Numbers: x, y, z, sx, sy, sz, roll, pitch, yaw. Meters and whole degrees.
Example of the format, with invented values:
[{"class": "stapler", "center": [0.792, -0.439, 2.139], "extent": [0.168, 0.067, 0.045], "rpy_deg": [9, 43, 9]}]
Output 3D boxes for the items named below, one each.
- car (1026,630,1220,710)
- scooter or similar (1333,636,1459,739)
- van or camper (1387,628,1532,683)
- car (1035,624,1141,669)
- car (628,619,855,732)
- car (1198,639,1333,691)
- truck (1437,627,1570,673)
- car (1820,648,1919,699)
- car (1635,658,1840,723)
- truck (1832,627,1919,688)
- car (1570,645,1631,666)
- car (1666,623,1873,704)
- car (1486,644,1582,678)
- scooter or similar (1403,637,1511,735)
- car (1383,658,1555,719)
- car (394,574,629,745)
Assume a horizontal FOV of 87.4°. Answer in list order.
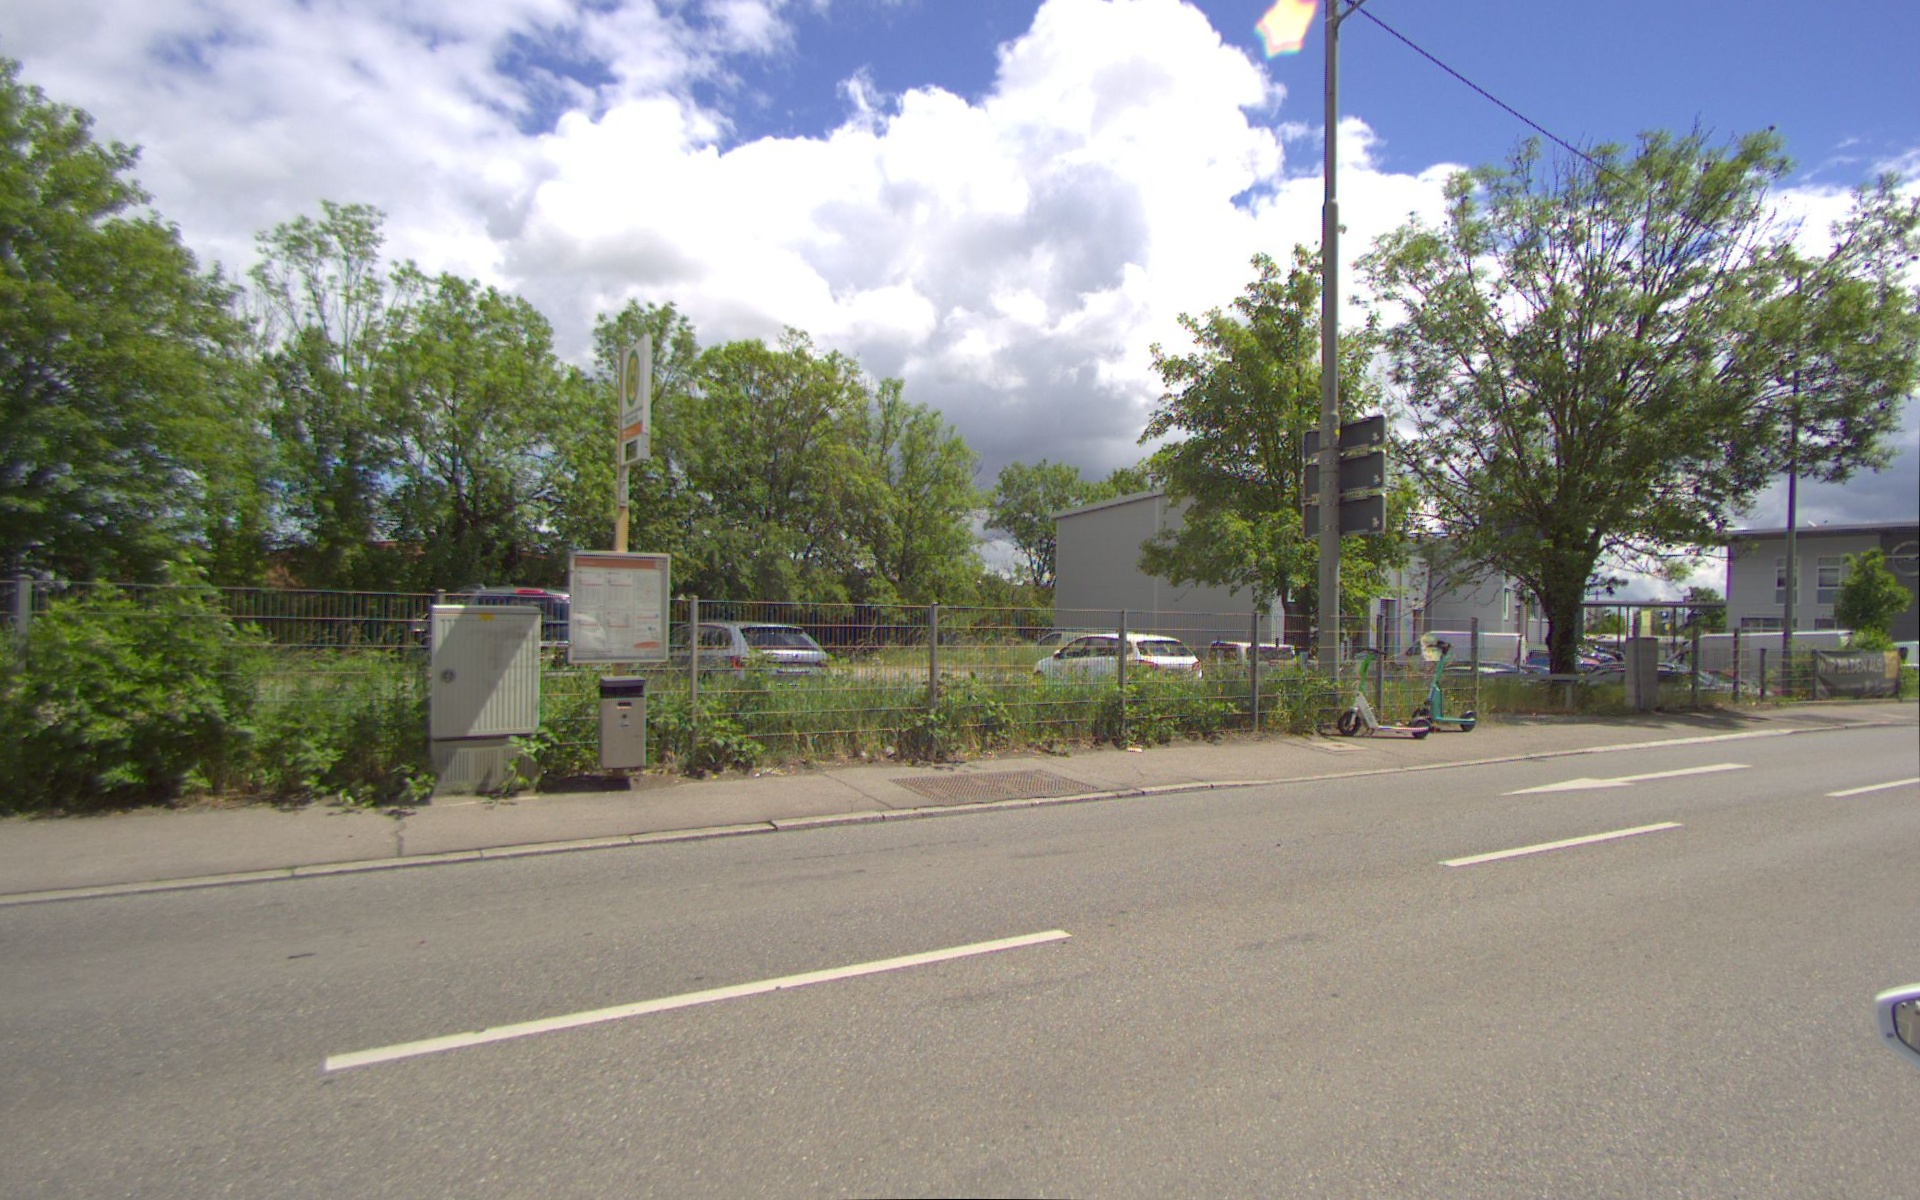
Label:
[{"class": "car", "center": [3.223, 1.368, 20.741], "extent": [1.841, 1.399, 4.263], "rpy_deg": [2, -2, -26]}, {"class": "scooter or similar", "center": [5.719, 1.148, 13.179], "extent": [1.446, 1.279, 0.535], "rpy_deg": [2, 1, -14]}, {"class": "van or camper", "center": [24.040, 2.605, 48.498], "extent": [5.815, 2.386, 2.491], "rpy_deg": [0, -1, 41]}, {"class": "car", "center": [5.353, 1.926, 42.334], "extent": [4.112, 1.751, 1.834], "rpy_deg": [0, -2, 41]}, {"class": "car", "center": [-3.635, 1.114, 16.157], "extent": [1.894, 1.506, 4.243], "rpy_deg": [3, -2, -38]}, {"class": "car", "center": [11.107, 2.336, 36.399], "extent": [4.857, 1.751, 1.828], "rpy_deg": [2, -2, -29]}, {"class": "truck", "center": [30.530, 2.779, 56.522], "extent": [6.217, 2.258, 2.691], "rpy_deg": [1, -3, 39]}, {"class": "car", "center": [33.584, 2.643, 35.939], "extent": [1.907, 1.630, 3.866], "rpy_deg": [4, -2, -30]}, {"class": "car", "center": [21.079, 2.427, 27.393], "extent": [1.908, 1.404, 4.011], "rpy_deg": [4, -2, -32]}, {"class": "truck", "center": [36.086, 2.159, 36.813], "extent": [2.451, 2.175, 5.827], "rpy_deg": [4, -3, -33]}, {"class": "car", "center": [45.792, 3.926, 71.820], "extent": [3.428, 1.301, 1.654], "rpy_deg": [1, 0, 42]}, {"class": "car", "center": [22.986, 1.722, 28.673], "extent": [2.175, 2.040, 4.136], "rpy_deg": [1, 0, -33]}, {"class": "car", "center": [30.369, 3.225, 53.202], "extent": [4.173, 1.516, 1.922], "rpy_deg": [2, -2, 37]}, {"class": "scooter or similar", "center": [6.939, 1.179, 14.026], "extent": [1.452, 1.283, 0.533], "rpy_deg": [2, 1, -26]}, {"class": "car", "center": [14.363, 2.471, 28.569], "extent": [1.803, 1.404, 4.015], "rpy_deg": [4, -2, -29]}, {"class": "car", "center": [-6.512, 0.760, 14.316], "extent": [2.122, 2.040, 4.245], "rpy_deg": [3, -2, -37]}]
